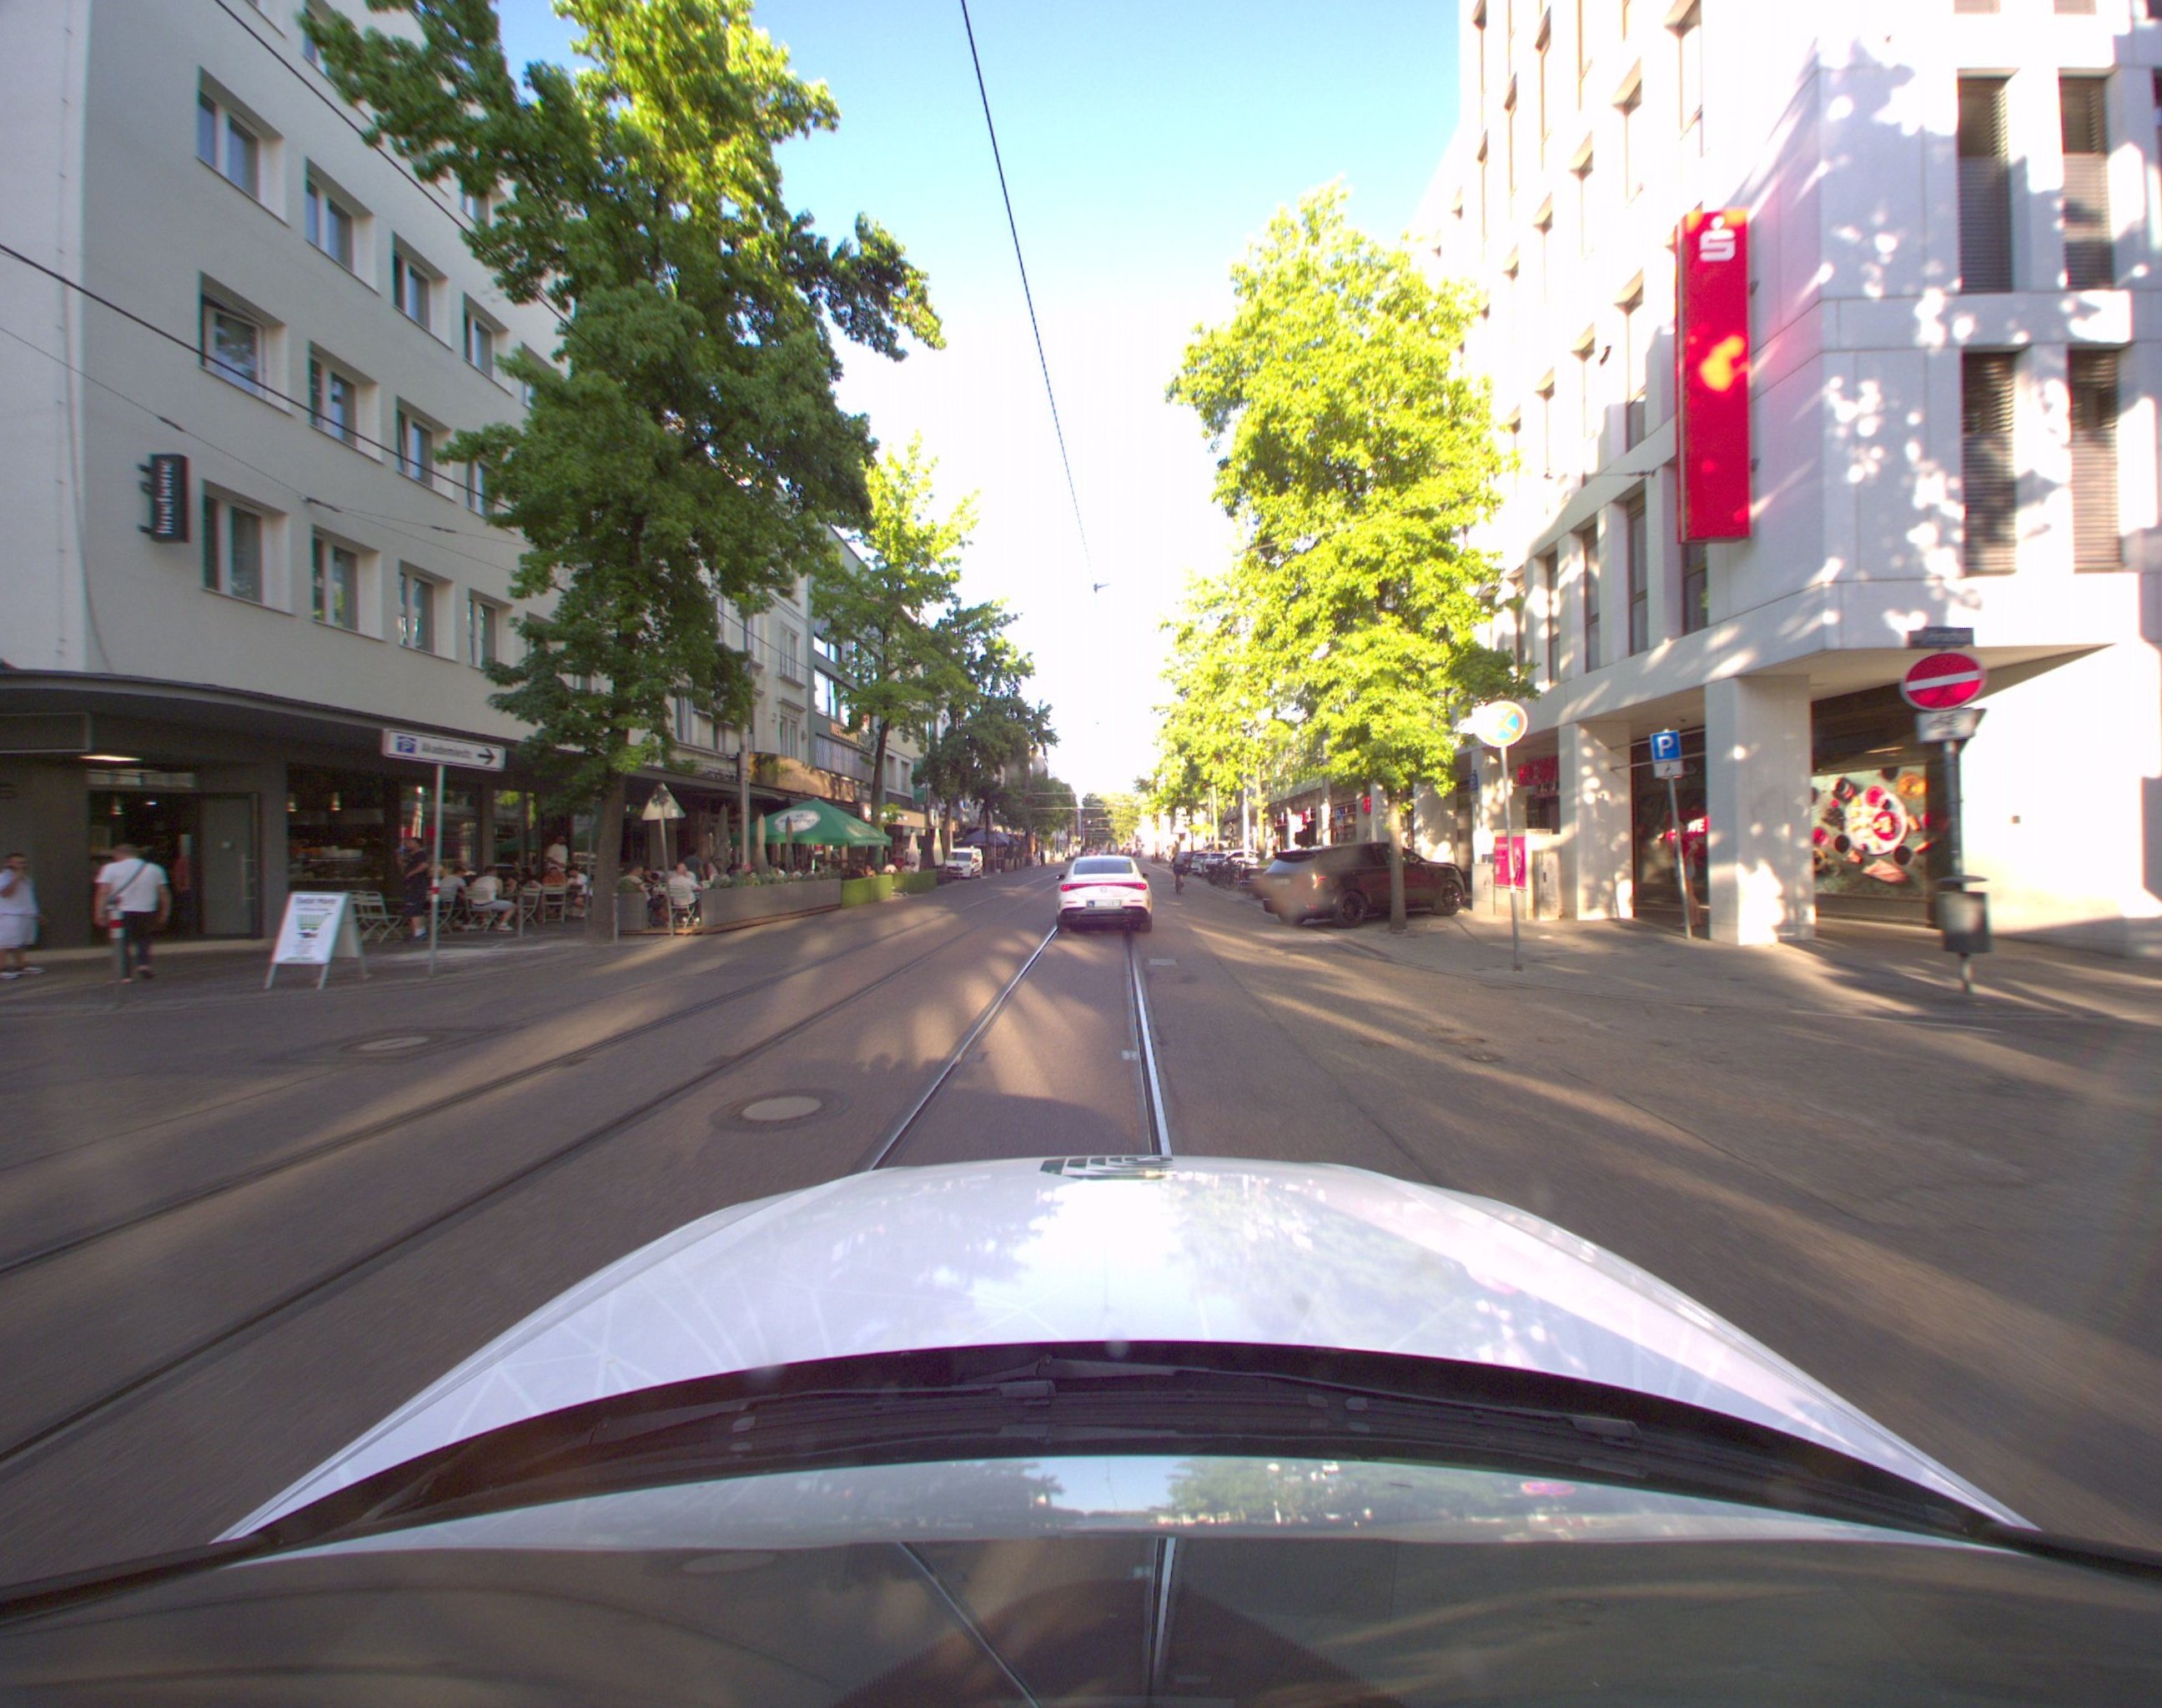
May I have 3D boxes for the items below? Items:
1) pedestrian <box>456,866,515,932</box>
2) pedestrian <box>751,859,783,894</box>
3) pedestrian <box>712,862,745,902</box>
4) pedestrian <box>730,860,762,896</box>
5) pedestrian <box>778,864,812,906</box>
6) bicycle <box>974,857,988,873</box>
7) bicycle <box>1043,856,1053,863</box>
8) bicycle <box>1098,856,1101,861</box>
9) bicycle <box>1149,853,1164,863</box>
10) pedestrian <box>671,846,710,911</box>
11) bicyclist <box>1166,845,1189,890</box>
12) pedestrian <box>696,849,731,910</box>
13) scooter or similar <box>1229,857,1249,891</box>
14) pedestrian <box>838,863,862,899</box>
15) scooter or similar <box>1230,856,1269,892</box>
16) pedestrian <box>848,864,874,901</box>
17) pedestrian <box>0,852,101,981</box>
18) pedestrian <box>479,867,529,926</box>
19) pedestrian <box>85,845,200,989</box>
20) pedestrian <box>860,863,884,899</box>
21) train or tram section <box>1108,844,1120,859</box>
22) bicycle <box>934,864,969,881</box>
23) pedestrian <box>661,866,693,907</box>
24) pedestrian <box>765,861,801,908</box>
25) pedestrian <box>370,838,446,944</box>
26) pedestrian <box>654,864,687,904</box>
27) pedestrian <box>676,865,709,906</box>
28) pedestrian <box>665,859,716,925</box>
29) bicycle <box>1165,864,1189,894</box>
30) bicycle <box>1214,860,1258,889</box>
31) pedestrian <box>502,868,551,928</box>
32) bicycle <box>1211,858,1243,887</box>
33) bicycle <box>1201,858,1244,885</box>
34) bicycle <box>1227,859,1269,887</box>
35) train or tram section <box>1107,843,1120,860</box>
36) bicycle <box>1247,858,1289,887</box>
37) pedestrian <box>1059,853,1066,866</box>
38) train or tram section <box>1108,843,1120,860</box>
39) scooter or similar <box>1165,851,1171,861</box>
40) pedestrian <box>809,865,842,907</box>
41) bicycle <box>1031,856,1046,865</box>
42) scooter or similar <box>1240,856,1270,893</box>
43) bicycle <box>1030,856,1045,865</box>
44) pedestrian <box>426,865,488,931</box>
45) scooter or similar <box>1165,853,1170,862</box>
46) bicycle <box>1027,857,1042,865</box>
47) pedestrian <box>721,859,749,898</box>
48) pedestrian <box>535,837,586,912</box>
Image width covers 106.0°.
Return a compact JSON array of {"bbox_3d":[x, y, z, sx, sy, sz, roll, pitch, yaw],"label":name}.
[{"bbox_3d":[-11.959,0.884,16.374,0.624,1.282,0.728,1,0,3],"label":"pedestrian"},{"bbox_3d":[-11.622,0.825,30.170,0.774,1.237,0.945,2,0,2],"label":"pedestrian"},{"bbox_3d":[-11.398,0.889,26.360,0.667,1.242,0.799,1,0,2],"label":"pedestrian"},{"bbox_3d":[-11.869,0.833,28.866,0.733,1.231,0.788,2,0,2],"label":"pedestrian"},{"bbox_3d":[-8.923,0.960,25.430,0.704,1.259,0.870,1,0,5],"label":"pedestrian"},{"bbox_3d":[-7.452,0.808,60.476,0.699,1.121,2.076,2,1,-15],"label":"bicycle"},{"bbox_3d":[-4.689,0.752,115.446,1.491,1.029,0.344,0,0,-8],"label":"bicycle"},{"bbox_3d":[4.050,0.965,177.980,0.797,1.142,2.257,1,0,1],"label":"bicycle"},{"bbox_3d":[10.513,0.501,113.263,1.908,1.281,0.608,-3,0,-9],"label":"bicycle"},{"bbox_3d":[-10.783,0.653,22.485,0.675,1.757,0.698,1,0,4],"label":"pedestrian"},{"bbox_3d":[3.585,0.478,30.169,0.772,1.613,0.915,1,0,11],"label":"bicyclist"},{"bbox_3d":[-10.228,0.700,22.660,0.616,1.670,0.697,1,0,2],"label":"pedestrian"},{"bbox_3d":[6.279,0.792,32.424,0.449,1.276,1.307,-5,0,2],"label":"scooter or similar"},{"bbox_3d":[-8.294,0.952,29.233,0.616,1.245,0.697,2,0,2],"label":"pedestrian"},{"bbox_3d":[6.511,0.781,31.459,1.311,1.276,0.559,-4,0,-30],"label":"scooter or similar"},{"bbox_3d":[-7.623,0.971,28.238,0.616,1.245,0.697,2,0,2],"label":"pedestrian"},{"bbox_3d":[-13.880,0.795,10.759,0.797,1.614,0.862,-1,2,-15],"label":"pedestrian"},{"bbox_3d":[-12.362,0.900,17.457,0.550,1.235,0.687,1,0,3],"label":"pedestrian"},{"bbox_3d":[-12.021,0.759,10.439,0.788,1.740,0.871,0,1,36],"label":"pedestrian"},{"bbox_3d":[-7.481,0.967,29.194,0.616,1.245,0.697,2,0,2],"label":"pedestrian"},{"bbox_3d":[8.067,-0.575,198.389,2.684,3.516,11.150,-1,0,3],"label":"train or tram section"},{"bbox_3d":[-7.317,1.041,46.170,0.826,0.865,1.872,1,0,41],"label":"bicycle"},{"bbox_3d":[-11.663,0.929,23.524,0.550,1.161,0.687,1,0,3],"label":"pedestrian"},{"bbox_3d":[-8.798,0.903,24.093,0.704,1.347,0.782,1,0,4],"label":"pedestrian"},{"bbox_3d":[-11.904,0.632,14.425,0.679,1.815,0.767,1,0,17],"label":"pedestrian"},{"bbox_3d":[-12.339,0.901,24.512,0.599,1.158,0.687,1,0,3],"label":"pedestrian"},{"bbox_3d":[-11.683,0.941,24.506,0.599,1.174,0.687,1,0,3],"label":"pedestrian"},{"bbox_3d":[-8.548,0.820,17.843,0.686,1.386,0.807,1,0,3],"label":"pedestrian"},{"bbox_3d":[3.582,0.905,30.189,0.714,0.995,2.065,1,0,11],"label":"bicycle"},{"bbox_3d":[6.455,0.852,33.977,1.567,1.088,0.861,-4,2,-28],"label":"bicycle"},{"bbox_3d":[-11.857,0.928,17.428,0.550,1.235,0.687,1,0,3],"label":"pedestrian"},{"bbox_3d":[6.508,0.825,36.226,0.475,1.163,1.705,-5,-1,42],"label":"bicycle"},{"bbox_3d":[6.646,0.831,38.173,1.901,1.119,0.661,-3,-1,-27],"label":"bicycle"},{"bbox_3d":[7.380,0.815,35.914,1.697,1.106,0.627,-4,-1,-24],"label":"bicycle"},{"bbox_3d":[6.960,-0.534,174.004,2.684,3.516,12.553,-1,0,3],"label":"train or tram section"},{"bbox_3d":[7.994,0.783,34.798,1.679,1.074,0.726,-4,2,-28],"label":"bicycle"},{"bbox_3d":[-2.615,0.732,115.176,0.784,1.801,0.845,-1,0,3],"label":"pedestrian"},{"bbox_3d":[7.533,-0.557,186.553,2.684,3.516,12.553,-1,0,3],"label":"train or tram section"},{"bbox_3d":[11.580,0.307,108.528,0.527,1.277,0.658,-3,0,-9],"label":"scooter or similar"},{"bbox_3d":[-7.928,0.982,25.278,0.704,1.259,0.773,1,0,4],"label":"pedestrian"},{"bbox_3d":[-5.016,0.749,96.183,1.784,1.077,0.377,0,0,-2],"label":"bicycle"},{"bbox_3d":[6.567,0.760,30.638,0.452,1.276,1.315,-5,0,39],"label":"scooter or similar"},{"bbox_3d":[-5.398,0.791,100.404,1.838,1.141,0.377,0,0,3],"label":"bicycle"},{"bbox_3d":[-12.614,0.876,16.472,0.642,1.269,0.739,1,0,3],"label":"pedestrian"},{"bbox_3d":[11.430,0.455,107.936,0.491,1.277,0.658,-3,0,-9],"label":"scooter or similar"},{"bbox_3d":[-5.327,0.811,92.954,1.586,0.930,0.378,0,0,9],"label":"bicycle"},{"bbox_3d":[-11.878,0.833,27.957,0.616,1.309,0.697,2,0,2],"label":"pedestrian"},{"bbox_3d":[-12.846,0.489,20.103,0.679,1.791,0.763,1,0,17],"label":"pedestrian"}]
